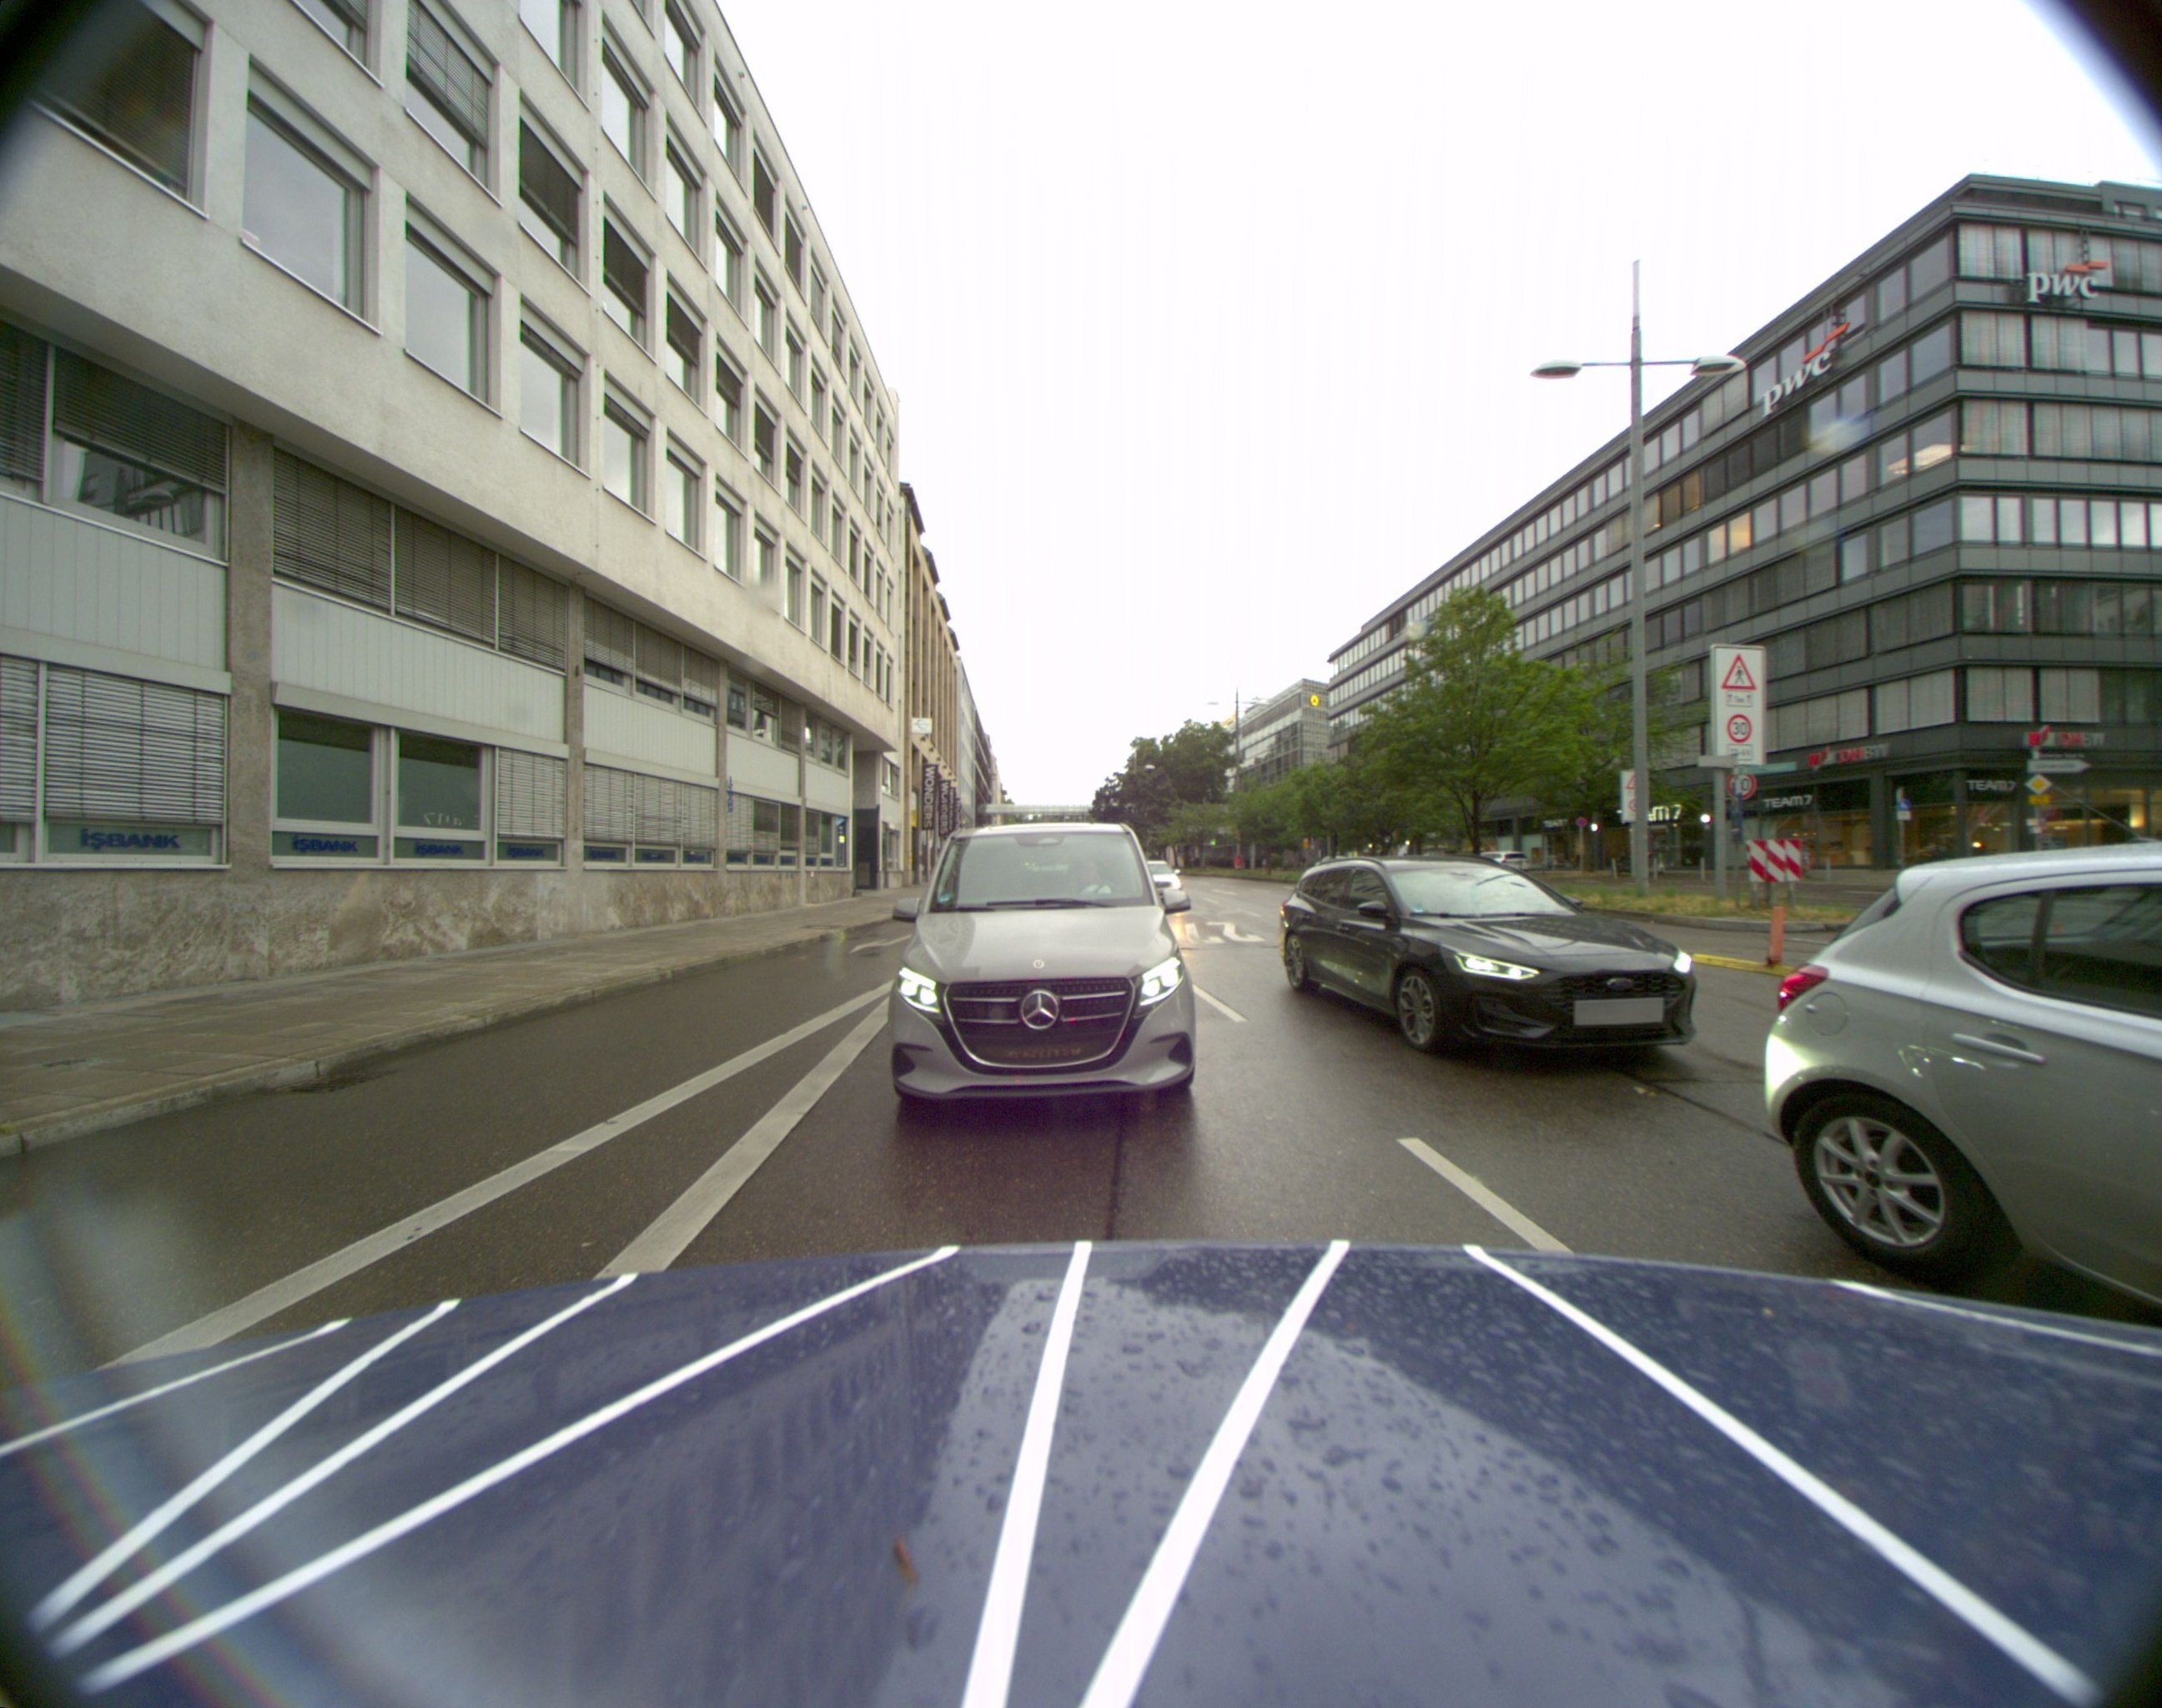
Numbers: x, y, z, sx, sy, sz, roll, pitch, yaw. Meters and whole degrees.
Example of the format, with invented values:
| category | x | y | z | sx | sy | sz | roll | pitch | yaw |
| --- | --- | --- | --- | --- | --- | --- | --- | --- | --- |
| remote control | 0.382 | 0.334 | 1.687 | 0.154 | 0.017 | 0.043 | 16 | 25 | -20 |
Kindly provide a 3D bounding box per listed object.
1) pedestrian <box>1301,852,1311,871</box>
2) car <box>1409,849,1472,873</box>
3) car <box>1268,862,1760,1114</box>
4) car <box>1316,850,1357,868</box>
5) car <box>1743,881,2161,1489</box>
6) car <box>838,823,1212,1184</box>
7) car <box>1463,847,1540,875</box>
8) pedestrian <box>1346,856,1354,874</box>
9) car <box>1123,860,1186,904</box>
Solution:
| category | x | y | z | sx | sy | sz | roll | pitch | yaw |
| --- | --- | --- | --- | --- | --- | --- | --- | --- | --- |
| pedestrian | 25.070 | 0.841 | 84.662 | 0.928 | 2.002 | 0.539 | -2 | 0 | -1 |
| car | 23.644 | 0.446 | 50.134 | 1.999 | 1.498 | 4.106 | -2 | 0 | -4 |
| car | 3.164 | 0.833 | 6.681 | 1.776 | 1.427 | 4.093 | -2 | 0 | -4 |
| car | 22.392 | 0.456 | 66.680 | 1.999 | 1.498 | 3.999 | -2 | 0 | -4 |
| car | 3.511 | 0.845 | 1.116 | 1.652 | 1.427 | 3.875 | -2 | 0 | 0 |
| car | -0.311 | 0.797 | 6.537 | 1.916 | 1.844 | 5.026 | -2 | 0 | 0 |
| car | 24.101 | 0.387 | 43.676 | 1.999 | 1.498 | 3.999 | -2 | 0 | -4 |
| pedestrian | 29.838 | 1.221 | 84.333 | 0.689 | 2.002 | 0.501 | -2 | 0 | -3 |
| car | 2.552 | 0.953 | 27.288 | 1.776 | 1.372 | 4.094 | -2 | 0 | -1 |
